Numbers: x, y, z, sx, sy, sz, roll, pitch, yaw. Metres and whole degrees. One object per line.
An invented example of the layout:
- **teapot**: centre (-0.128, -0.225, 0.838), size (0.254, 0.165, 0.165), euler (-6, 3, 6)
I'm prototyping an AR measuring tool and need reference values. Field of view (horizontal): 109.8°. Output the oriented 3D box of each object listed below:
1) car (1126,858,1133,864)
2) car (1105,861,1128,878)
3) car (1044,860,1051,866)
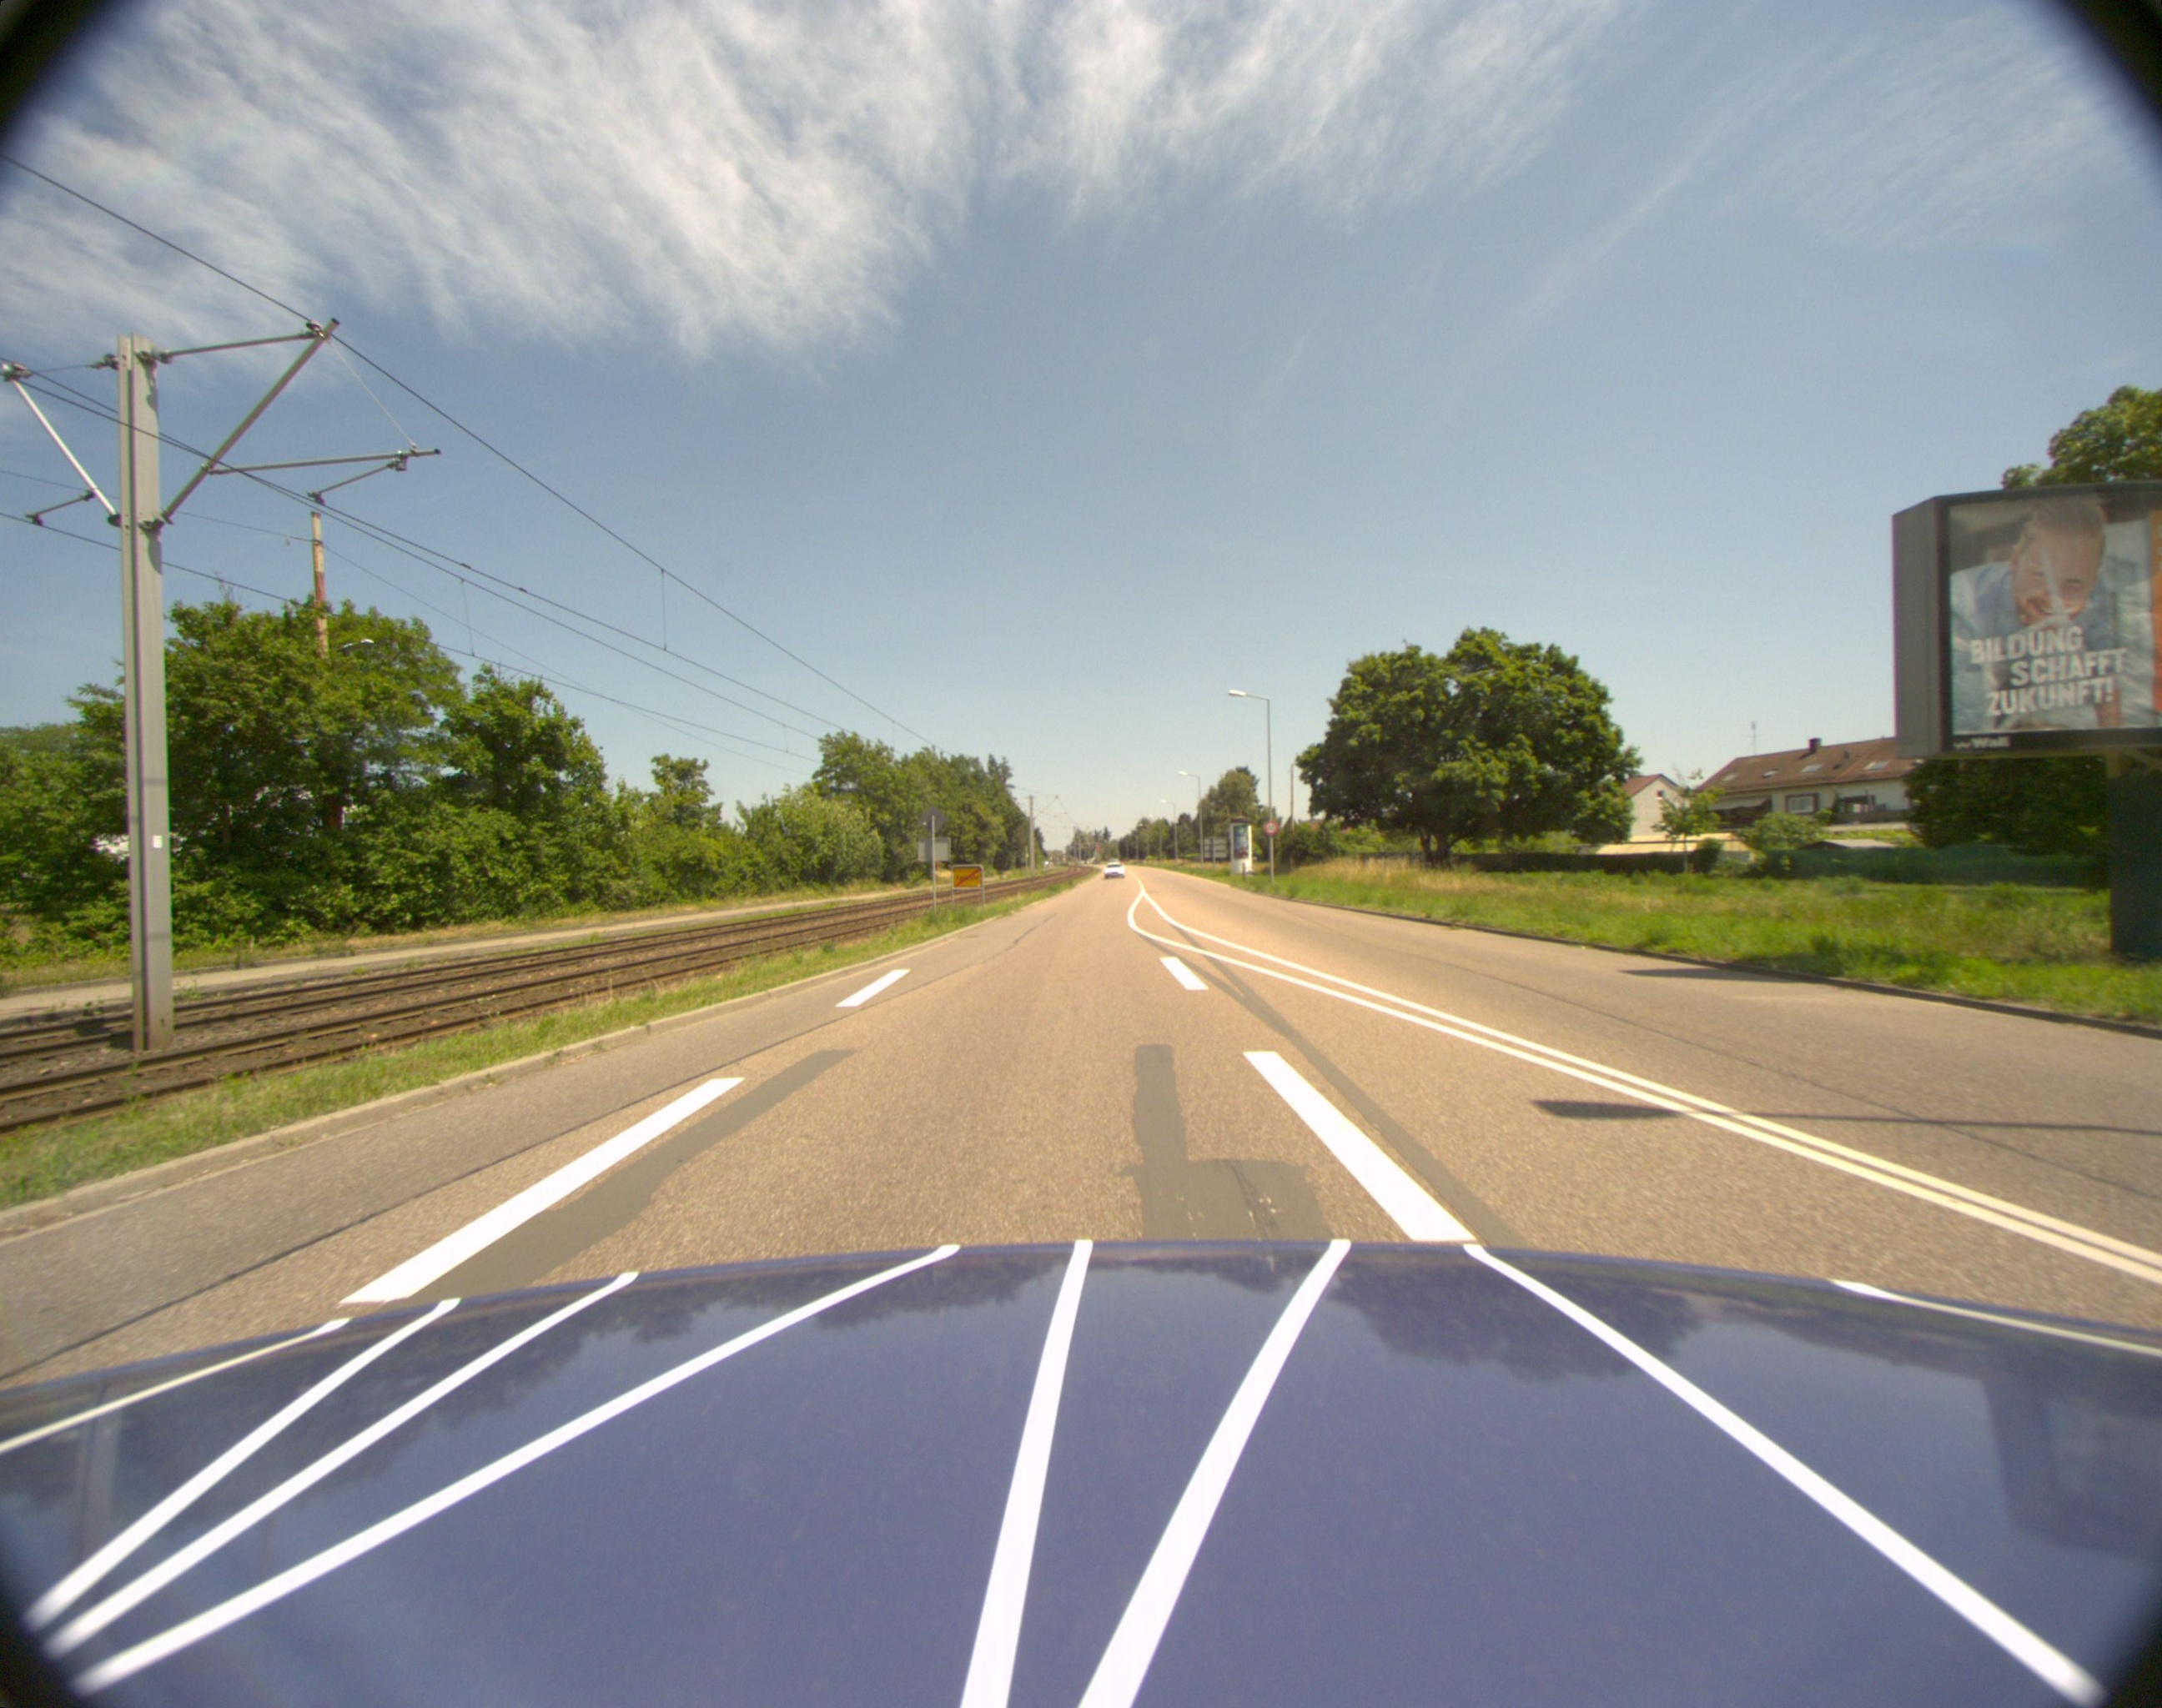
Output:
- **car**: centre (12.521, 1.845, 195.523), size (1.683, 1.390, 4.000), euler (-3, 0, 1)
- **car**: centre (3.291, 1.430, 70.006), size (1.954, 1.467, 4.363), euler (-2, 0, 4)
- **car**: centre (-10.791, 2.813, 245.476), size (1.998, 1.710, 4.000), euler (-5, 0, 1)
